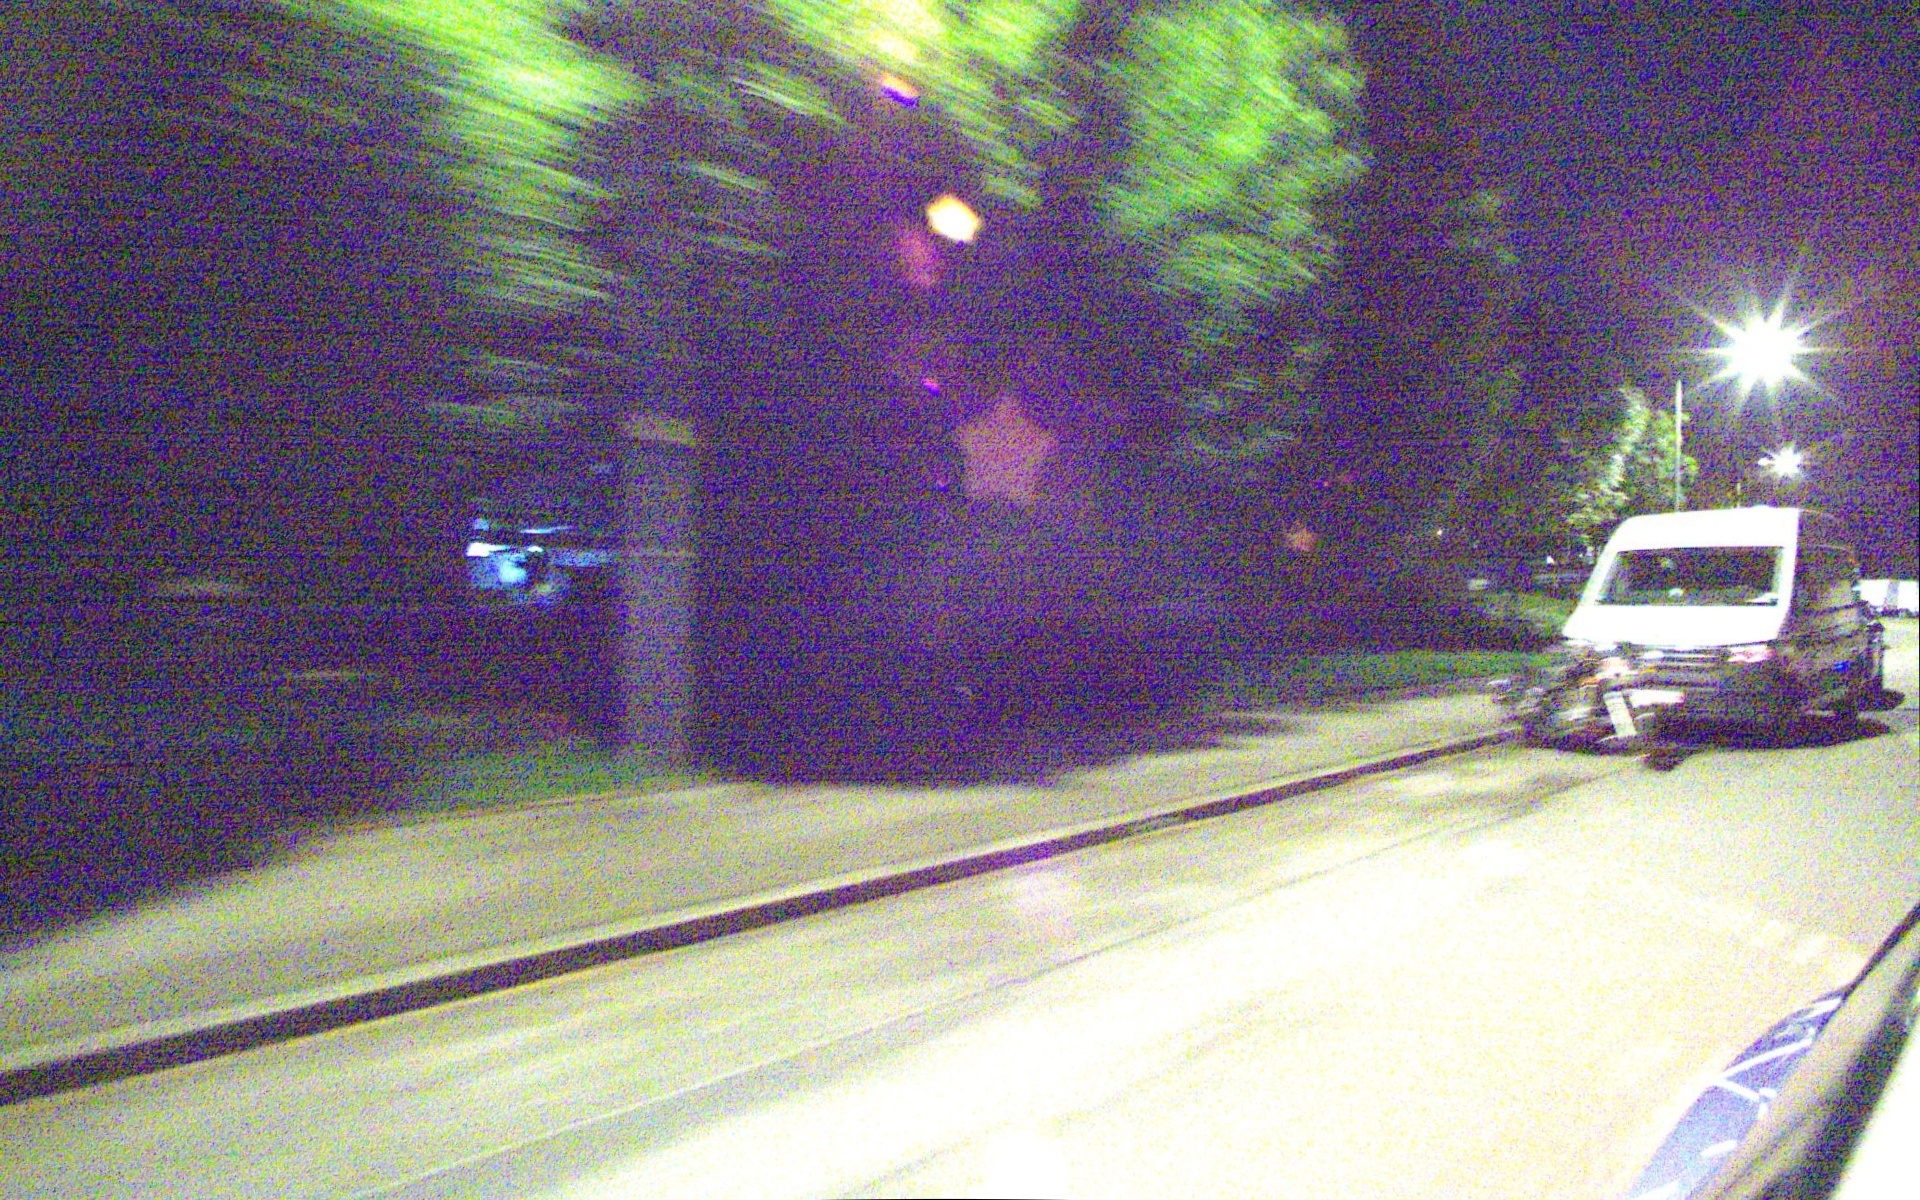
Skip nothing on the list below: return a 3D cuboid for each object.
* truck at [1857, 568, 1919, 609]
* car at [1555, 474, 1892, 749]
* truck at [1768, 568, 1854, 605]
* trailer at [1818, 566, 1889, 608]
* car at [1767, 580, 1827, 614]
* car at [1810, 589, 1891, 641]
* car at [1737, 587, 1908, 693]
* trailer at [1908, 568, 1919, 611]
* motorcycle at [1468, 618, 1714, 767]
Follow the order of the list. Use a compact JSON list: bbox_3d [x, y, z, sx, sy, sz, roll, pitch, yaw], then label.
[{"bbox_3d":[67.242,-0.831,72.931,1.980,2.819,7.179,2,1,26],"label":"truck"},{"bbox_3d":[9.366,0.085,12.162,5.945,2.558,2.024,0,0,-41],"label":"car"},{"bbox_3d":[75.932,-1.231,90.508,2.718,3.103,9.278,1,1,20],"label":"truck"},{"bbox_3d":[71.104,-1.042,80.684,2.468,3.111,7.874,2,1,29],"label":"trailer"},{"bbox_3d":[51.213,-0.185,62.007,1.984,2.039,5.296,0,0,31],"label":"car"},{"bbox_3d":[27.541,0.412,31.395,1.708,1.527,3.944,0,1,39],"label":"car"},{"bbox_3d":[14.424,0.585,16.828,4.564,1.527,1.711,0,-1,-44],"label":"car"},{"bbox_3d":[64.502,-0.638,66.728,1.988,2.799,3.956,3,2,31],"label":"trailer"},{"bbox_3d":[5.911,0.804,9.683,0.753,1.198,2.189,0,0,-8],"label":"motorcycle"}]
